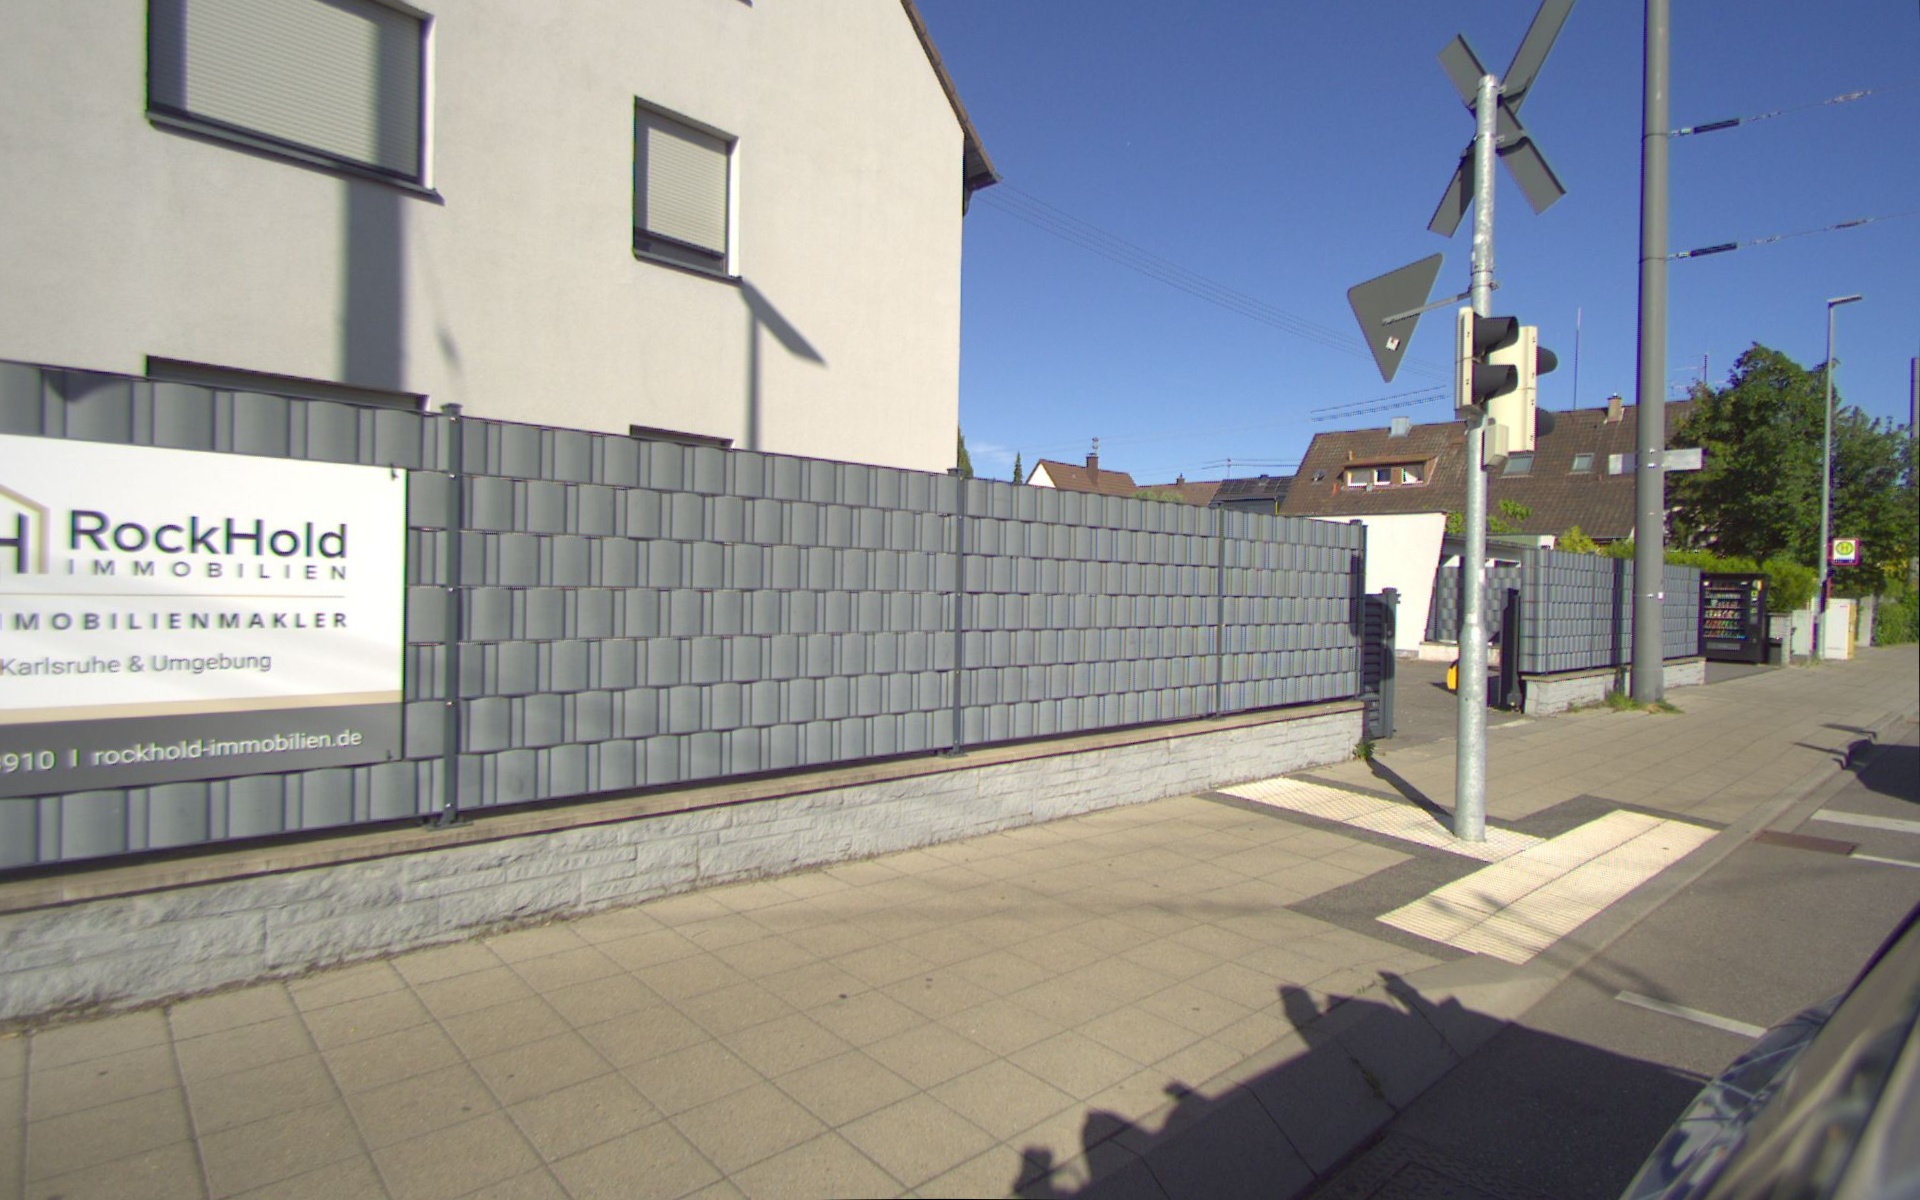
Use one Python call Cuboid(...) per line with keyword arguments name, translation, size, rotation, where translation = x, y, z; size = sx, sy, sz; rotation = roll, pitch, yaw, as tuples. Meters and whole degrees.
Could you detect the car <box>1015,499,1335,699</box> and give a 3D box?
Cuboid(name="car", translation=(2.926, -0.092, 15.104), size=(1.959, 2.461, 5.000), rotation=(-1, 2, -27))
